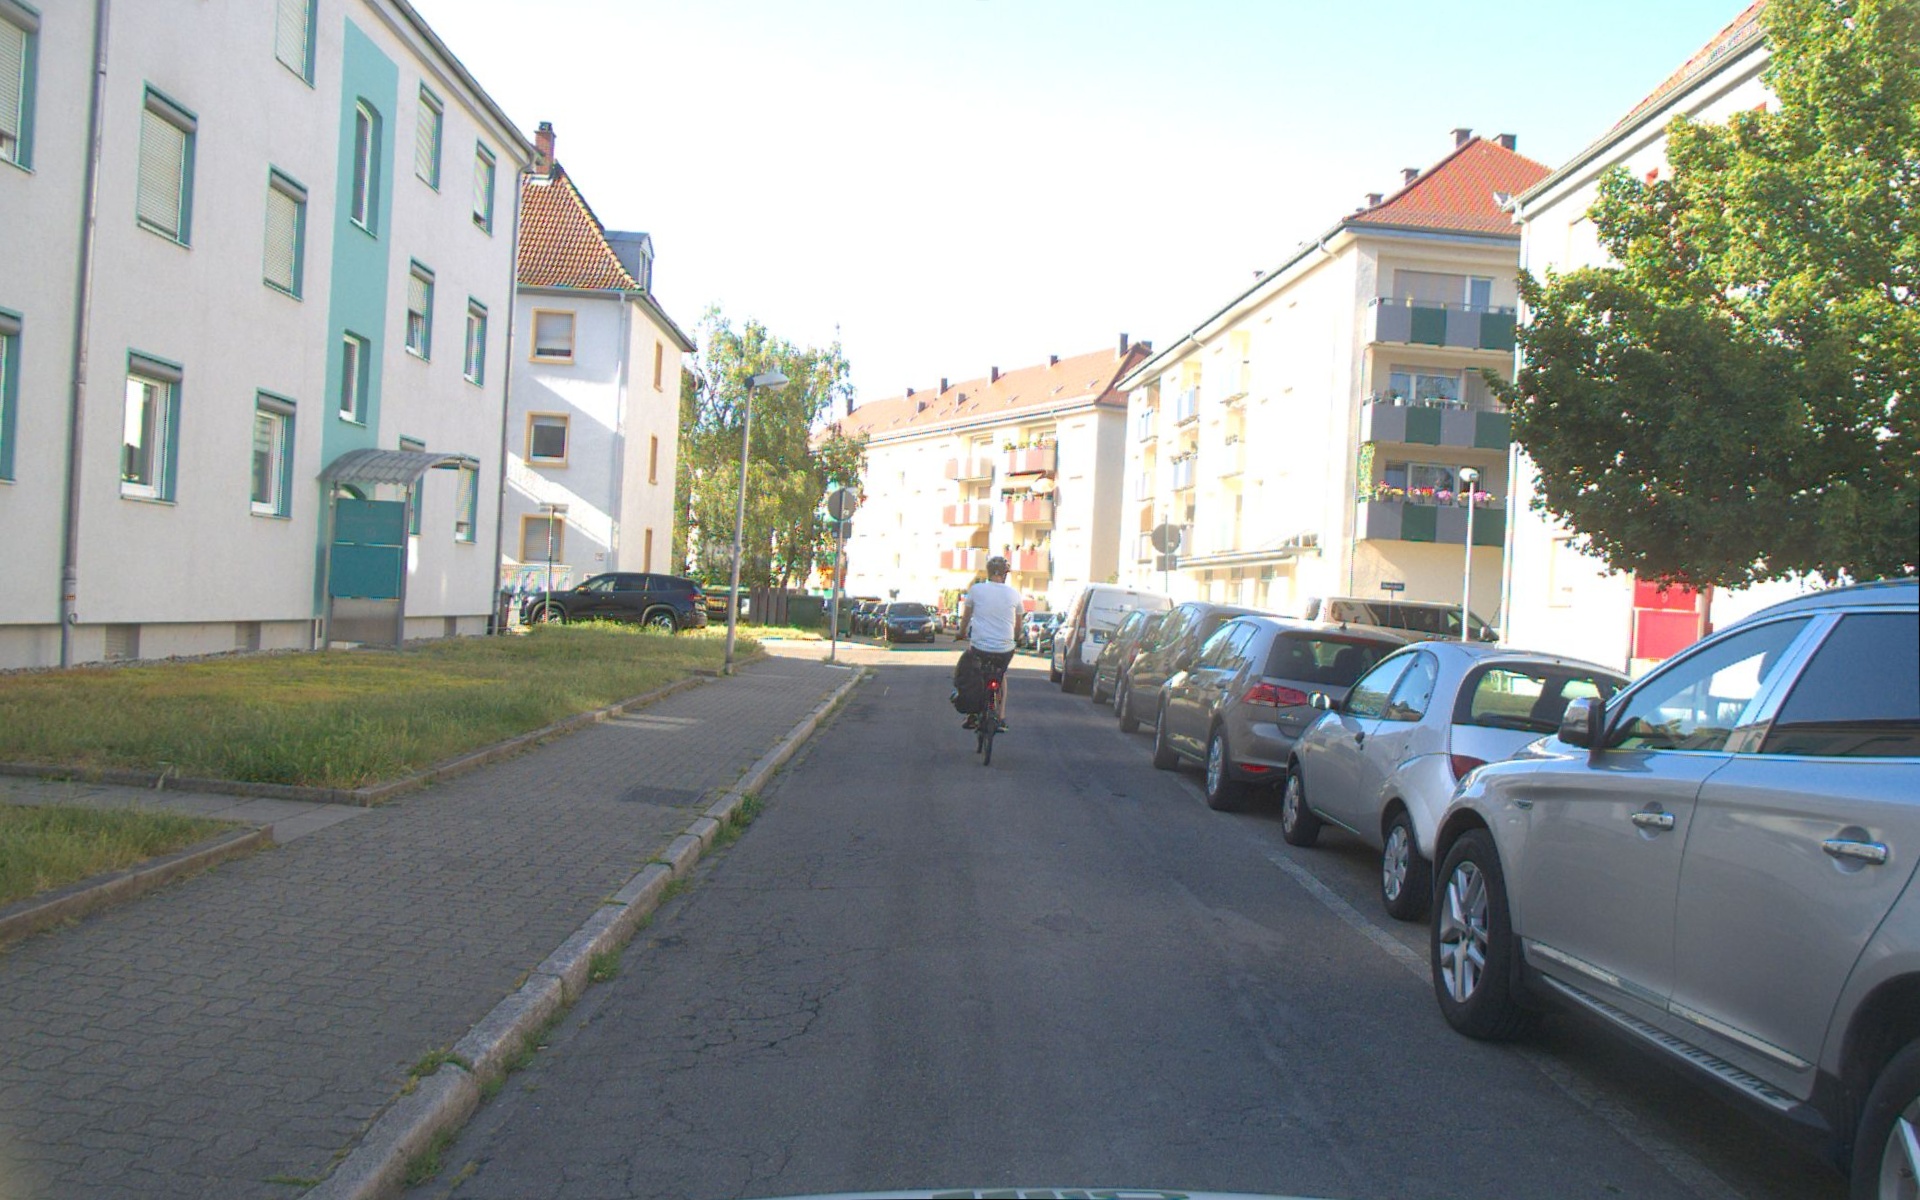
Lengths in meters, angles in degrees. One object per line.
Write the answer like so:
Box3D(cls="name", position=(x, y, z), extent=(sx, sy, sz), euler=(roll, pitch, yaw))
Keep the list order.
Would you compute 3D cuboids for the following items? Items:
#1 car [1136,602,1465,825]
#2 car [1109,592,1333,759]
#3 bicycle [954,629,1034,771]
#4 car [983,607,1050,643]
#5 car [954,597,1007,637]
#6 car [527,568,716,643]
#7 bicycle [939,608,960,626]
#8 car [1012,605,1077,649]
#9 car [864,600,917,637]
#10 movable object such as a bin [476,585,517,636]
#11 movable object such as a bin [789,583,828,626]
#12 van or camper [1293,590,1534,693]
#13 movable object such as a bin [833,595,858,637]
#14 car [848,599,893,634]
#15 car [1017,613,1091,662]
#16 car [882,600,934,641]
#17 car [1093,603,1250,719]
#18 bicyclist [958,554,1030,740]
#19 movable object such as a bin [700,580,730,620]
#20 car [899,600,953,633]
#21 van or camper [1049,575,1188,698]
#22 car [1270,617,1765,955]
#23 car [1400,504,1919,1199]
Box3D(cls="car", position=(2.621, 0.810, 13.651), extent=(1.596, 1.475, 3.948), euler=(3, 0, -4))
Box3D(cls="car", position=(2.805, 0.759, 18.525), extent=(1.586, 1.577, 3.607), euler=(4, 0, -5))
Box3D(cls="bicycle", position=(0.284, 0.861, 14.862), extent=(0.614, 1.134, 1.815), euler=(1, 0, -1))
Box3D(cls="car", position=(2.384, 1.038, 71.269), extent=(1.665, 1.456, 4.670), euler=(2, -1, -14))
Box3D(cls="car", position=(0.941, 0.772, 77.792), extent=(1.663, 1.684, 4.380), euler=(1, 1, -11))
Box3D(cls="car", position=(-8.543, 0.166, 42.007), extent=(4.397, 1.693, 1.719), euler=(2, -2, -1))
Box3D(cls="bicycle", position=(-0.616, 1.021, 99.545), extent=(0.609, 0.995, 1.883), euler=(0, 2, -22))
Box3D(cls="car", position=(3.299, 1.033, 65.359), extent=(1.647, 1.472, 4.716), euler=(5, 0, -8))
Box3D(cls="car", position=(-2.839, 0.719, 66.623), extent=(1.647, 1.468, 4.270), euler=(0, 0, -9))
Box3D(cls="movable object such as a bin", position=(-9.481, 0.210, 33.879), extent=(0.600, 1.009, 0.714), euler=(3, 0, -2))
Box3D(cls="movable object such as a bin", position=(-5.285, 0.162, 57.620), extent=(1.195, 1.404, 0.767), euler=(4, -1, 2))
Box3D(cls="van or camper", position=(10.598, 0.948, 38.926), extent=(5.019, 2.048, 2.000), euler=(3, 1, -1))
Box3D(cls="movable object such as a bin", position=(-3.969, 0.552, 57.369), extent=(0.760, 1.417, 1.416), euler=(3, 0, -3))
Box3D(cls="car", position=(-3.925, 0.706, 71.895), extent=(1.527, 1.468, 3.959), euler=(0, 0, -9))
Box3D(cls="car", position=(3.288, 1.310, 58.781), extent=(1.647, 1.431, 4.536), euler=(5, 0, -9))
Box3D(cls="car", position=(-1.962, 0.733, 61.513), extent=(1.645, 1.478, 4.615), euler=(0, 0, -6))
Box3D(cls="car", position=(2.870, 0.786, 23.080), extent=(1.541, 1.442, 3.786), euler=(1, 0, -3))
Box3D(cls="bicyclist", position=(0.295, 0.412, 14.849), extent=(0.584, 1.606, 0.907), euler=(1, -1, -1))
Box3D(cls="movable object such as a bin", position=(-9.285, -0.003, 62.737), extent=(1.039, 1.460, 1.002), euler=(1, 0, -3))
Box3D(cls="car", position=(-1.896, 0.877, 90.252), extent=(1.739, 1.664, 4.019), euler=(1, 1, -20))
Box3D(cls="van or camper", position=(2.627, 0.574, 28.384), extent=(1.756, 1.778, 4.734), euler=(5, 0, -1))
Box3D(cls="car", position=(3.027, 0.917, 9.743), extent=(1.596, 1.418, 3.488), euler=(6, 0, 0))
Box3D(cls="car", position=(2.795, 0.742, 4.456), extent=(1.740, 1.748, 4.305), euler=(5, 0, -3))
